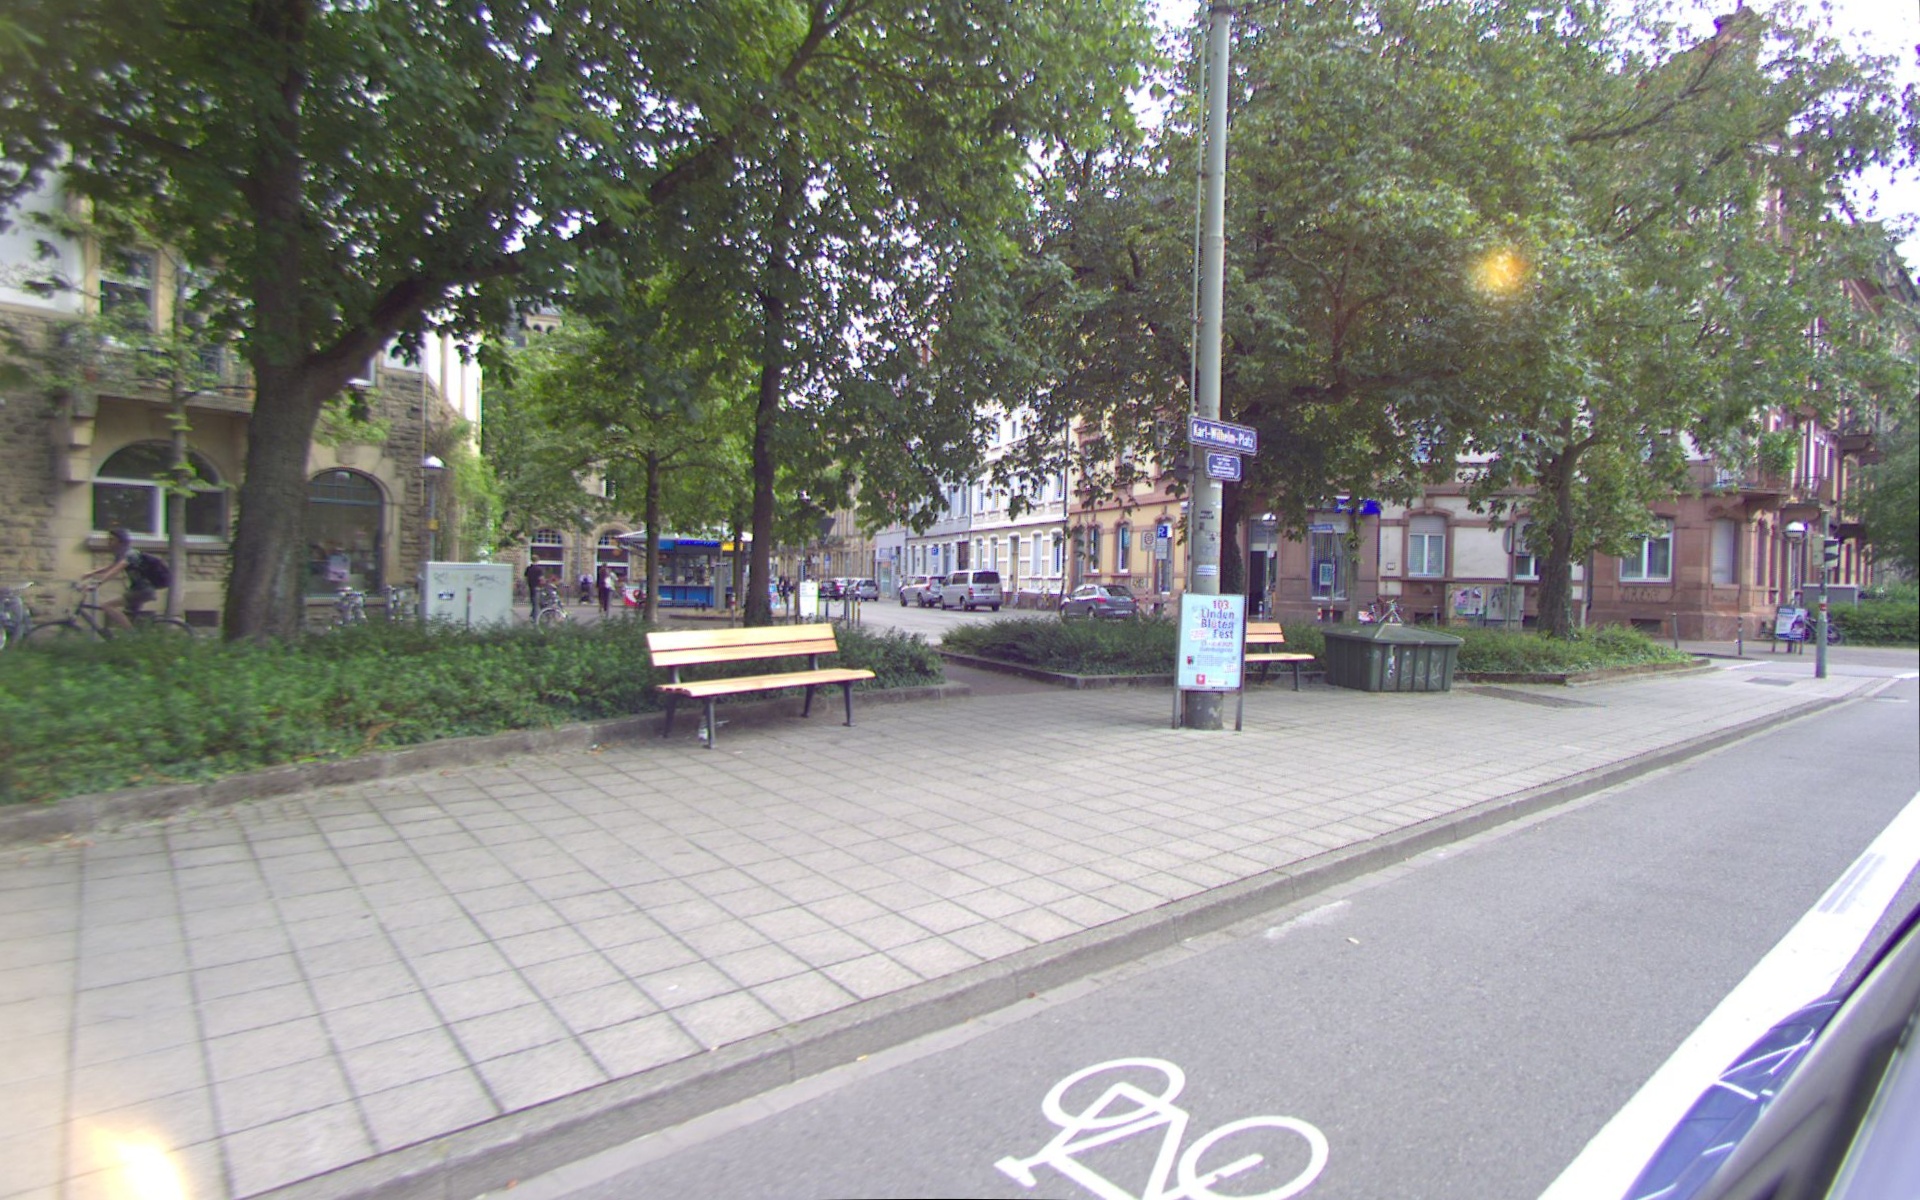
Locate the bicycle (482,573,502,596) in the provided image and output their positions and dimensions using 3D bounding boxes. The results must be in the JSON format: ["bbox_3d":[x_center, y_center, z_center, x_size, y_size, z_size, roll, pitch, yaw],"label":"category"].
[{"bbox_3d":[-23.167,-0.778,50.145,0.595,1.130,1.903,1,1,-17],"label":"bicycle"}]

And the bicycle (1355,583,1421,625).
[{"bbox_3d":[12.805,0.114,30.311,1.665,1.158,0.663,3,2,41],"label":"bicycle"}]

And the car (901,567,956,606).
[{"bbox_3d":[-1.739,-0.761,54.633,1.780,1.967,4.165,1,1,-19],"label":"car"}]

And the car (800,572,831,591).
[{"bbox_3d":[-12.336,-1.572,86.425,1.958,1.538,4.010,1,1,-17],"label":"car"}]

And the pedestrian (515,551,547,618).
[{"bbox_3d":[-11.181,-0.409,26.387,0.717,1.696,0.837,1,1,-21],"label":"pedestrian"}]

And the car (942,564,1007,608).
[{"bbox_3d":[0.635,-0.717,49.036,1.829,2.005,4.009,1,1,-19],"label":"car"}]

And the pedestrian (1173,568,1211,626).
[{"bbox_3d":[7.275,-0.095,31.744,0.875,1.750,0.734,2,2,-8],"label":"pedestrian"}]

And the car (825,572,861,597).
[{"bbox_3d":[-8.803,-1.204,75.885,1.780,1.771,4.009,1,1,-19],"label":"car"}]

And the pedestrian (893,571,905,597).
[{"bbox_3d":[-4.217,-1.096,69.701,0.633,1.776,0.734,1,1,-19],"label":"pedestrian"}]

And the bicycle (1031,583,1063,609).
[{"bbox_3d":[4.113,-0.200,47.812,0.659,1.135,1.944,1,1,-22],"label":"bicycle"}]

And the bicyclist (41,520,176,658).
[{"bbox_3d":[-10.564,-0.143,12.574,0.641,1.626,1.127,2,1,30],"label":"bicyclist"}]

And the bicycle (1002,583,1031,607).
[{"bbox_3d":[2.883,-0.265,51.579,0.659,1.135,1.944,1,1,-22],"label":"bicycle"}]

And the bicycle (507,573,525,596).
[{"bbox_3d":[-22.031,-0.779,50.250,0.595,1.130,1.903,1,1,-17],"label":"bicycle"}]

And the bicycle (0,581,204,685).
[{"bbox_3d":[-10.658,0.365,12.446,0.649,1.166,2.080,2,1,30],"label":"bicycle"}]

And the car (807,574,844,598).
[{"bbox_3d":[-9.300,-0.975,69.780,1.780,1.542,4.009,1,1,-18],"label":"car"}]

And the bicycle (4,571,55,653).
[{"bbox_3d":[-14.186,0.155,15.412,0.524,1.142,1.889,1,2,-44],"label":"bicycle"}]

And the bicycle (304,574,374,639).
[{"bbox_3d":[-11.778,0.110,19.168,1.884,1.142,0.525,3,1,39],"label":"bicycle"}]

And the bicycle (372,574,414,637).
[{"bbox_3d":[-11.036,0.086,19.664,0.522,1.142,1.894,1,1,-35],"label":"bicycle"}]

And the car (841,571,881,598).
[{"bbox_3d":[-6.919,-1.071,70.332,1.780,1.771,4.009,1,1,-19],"label":"car"}]

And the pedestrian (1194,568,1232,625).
[{"bbox_3d":[8.081,-0.124,32.376,0.741,1.750,0.895,2,2,-17],"label":"pedestrian"}]

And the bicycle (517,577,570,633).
[{"bbox_3d":[-9.048,0.091,21.947,0.523,1.142,1.892,1,2,-39],"label":"bicycle"}]

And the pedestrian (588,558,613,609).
[{"bbox_3d":[-11.748,-0.544,33.091,0.717,1.643,0.837,1,1,-21],"label":"pedestrian"}]

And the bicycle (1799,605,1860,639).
[{"bbox_3d":[27.003,0.683,31.430,1.518,0.981,0.511,2,1,-8],"label":"bicycle"}]

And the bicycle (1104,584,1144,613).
[{"bbox_3d":[6.691,-0.071,41.285,0.659,1.135,1.944,1,1,-22],"label":"bicycle"}]

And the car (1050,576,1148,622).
[{"bbox_3d":[4.828,-0.080,35.711,1.780,1.459,4.009,1,1,-19],"label":"car"}]

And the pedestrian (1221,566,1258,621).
[{"bbox_3d":[9.262,-0.232,33.572,0.717,1.750,0.895,2,2,-17],"label":"pedestrian"}]
